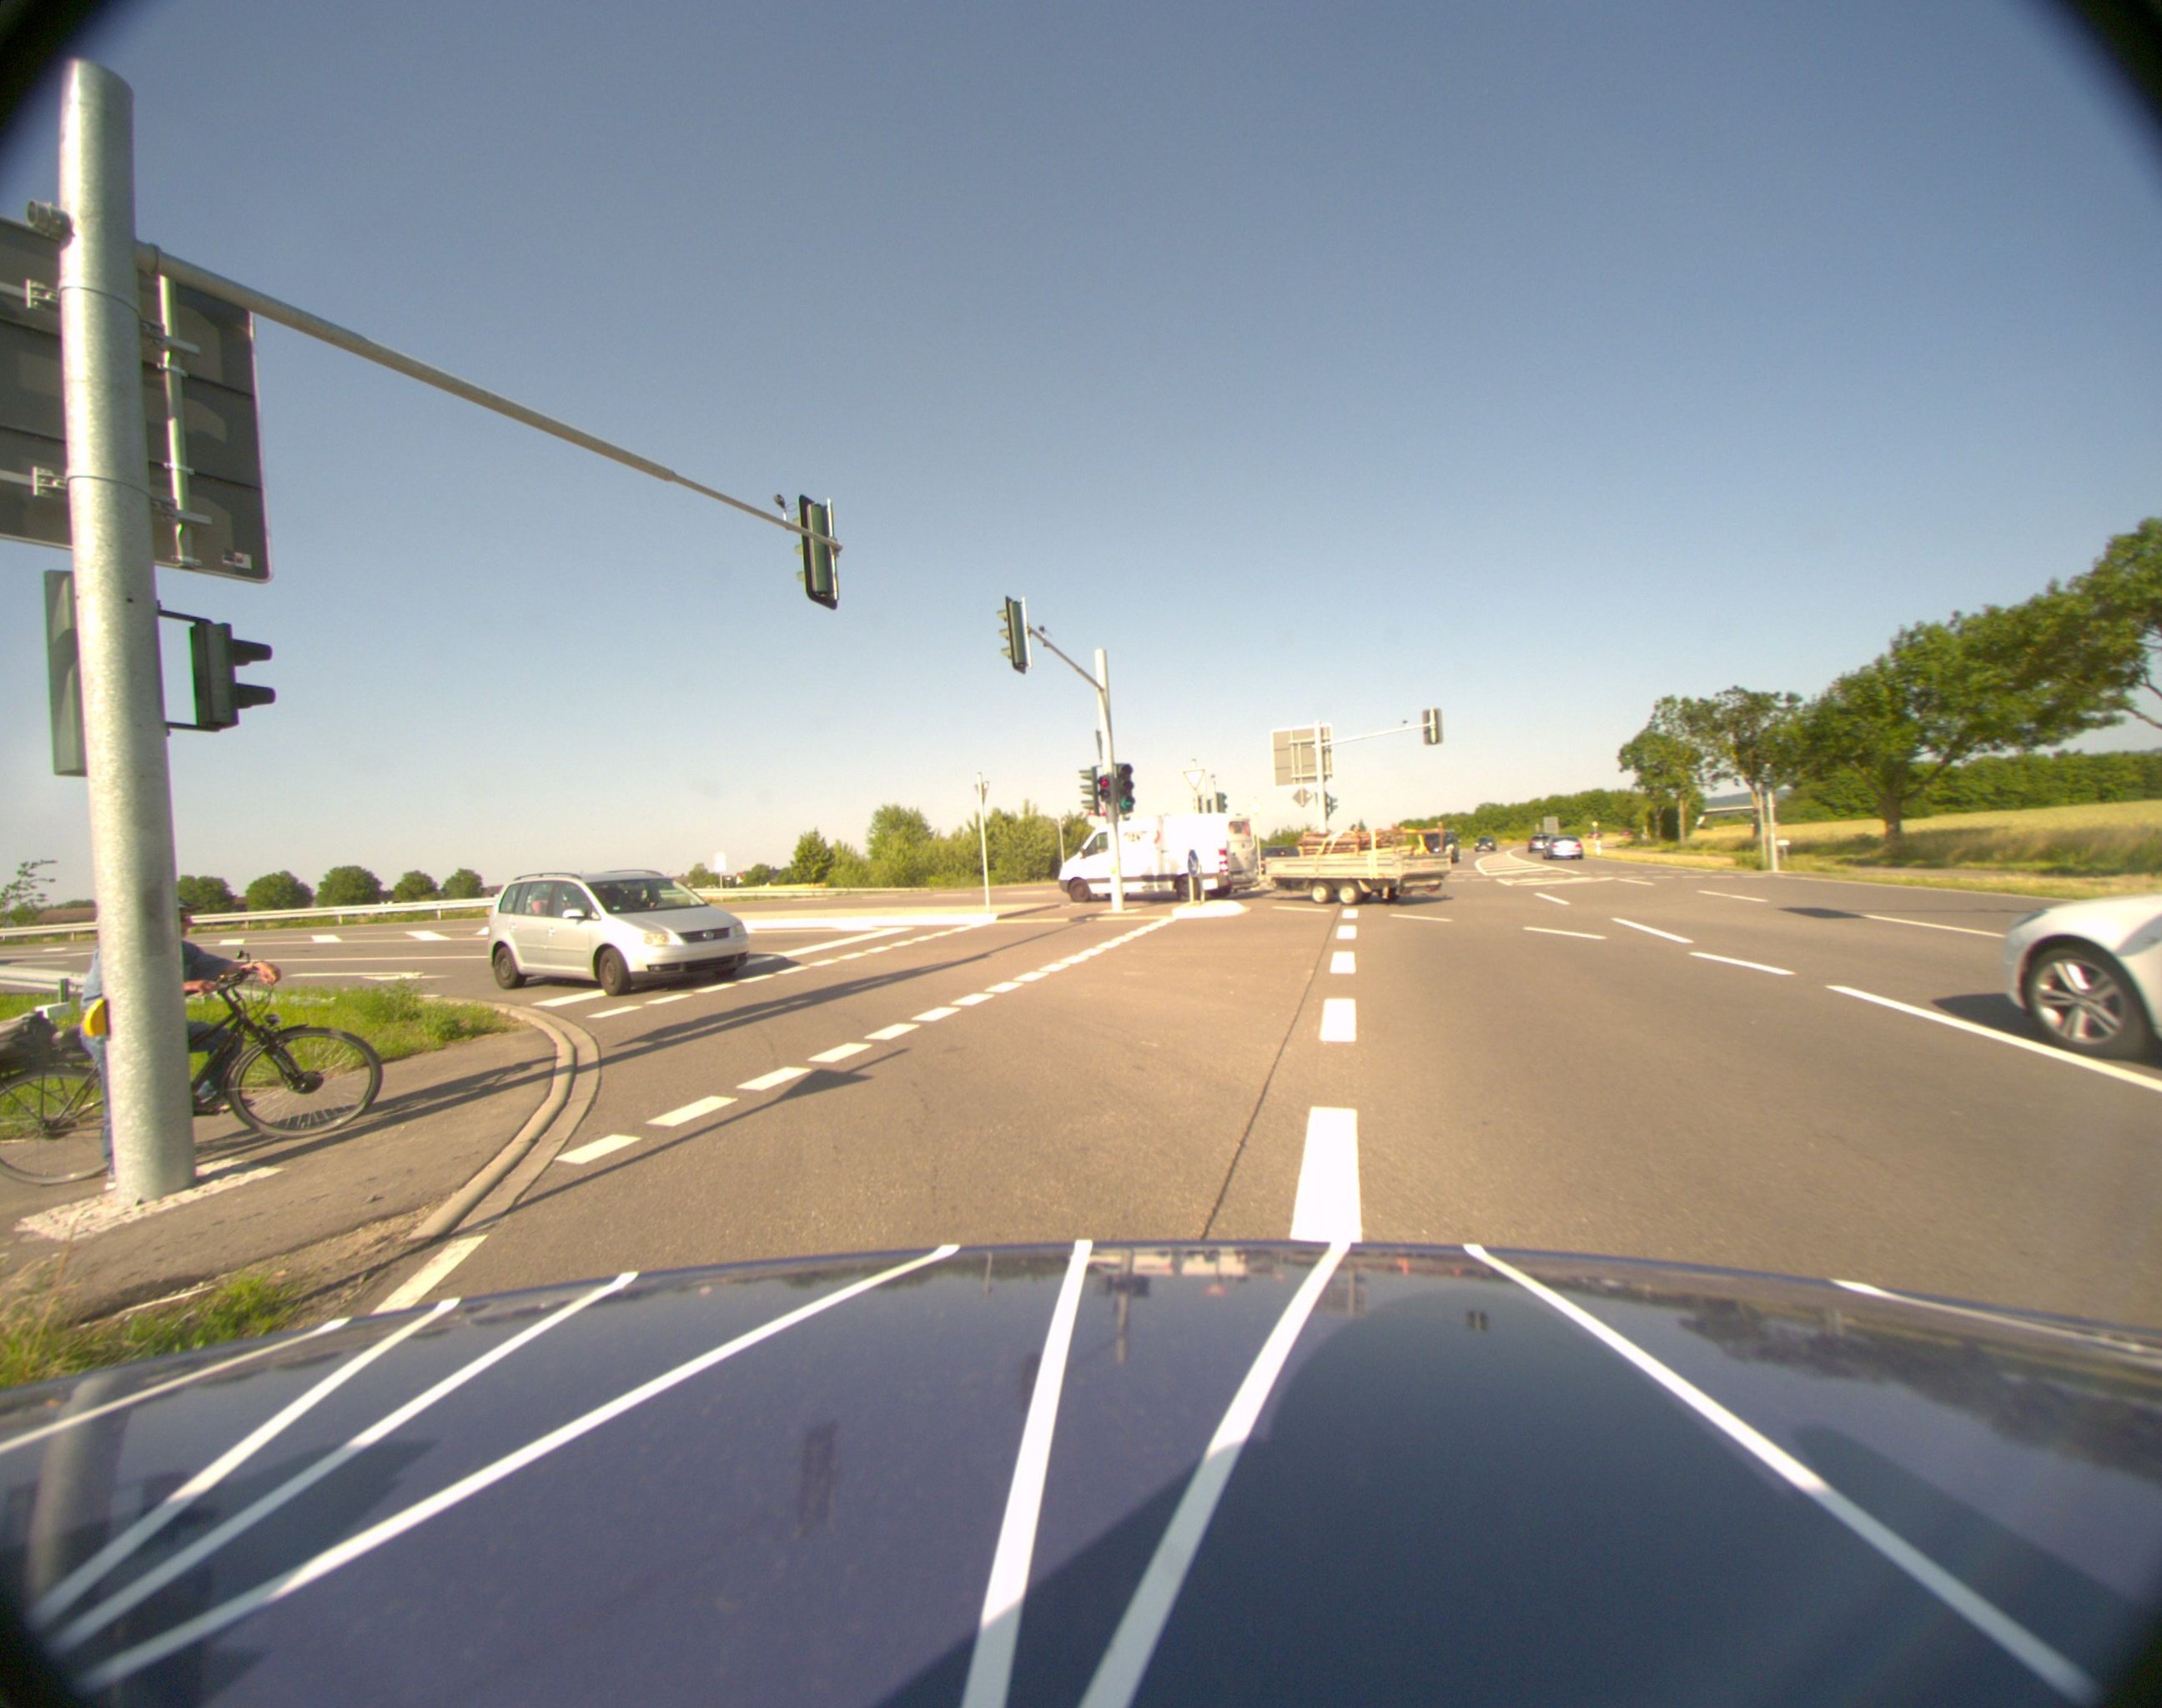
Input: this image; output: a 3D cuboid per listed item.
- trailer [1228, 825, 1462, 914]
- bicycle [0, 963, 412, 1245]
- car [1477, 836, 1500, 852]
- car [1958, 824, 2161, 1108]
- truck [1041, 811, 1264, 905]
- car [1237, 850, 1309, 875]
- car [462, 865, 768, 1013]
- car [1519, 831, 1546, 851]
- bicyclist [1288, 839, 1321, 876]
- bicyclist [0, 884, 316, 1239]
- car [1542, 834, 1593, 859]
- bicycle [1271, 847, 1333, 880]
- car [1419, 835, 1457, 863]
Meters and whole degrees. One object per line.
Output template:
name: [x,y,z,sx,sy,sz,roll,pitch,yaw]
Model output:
trailer: [5.934,0.330,17.802,1.984,1.728,5.000,-3,1,-31]
bicycle: [-5.365,1.413,4.448,1.947,1.145,0.680,-7,3,-25]
car: [43.273,-1.035,80.597,1.858,1.533,4.007,-3,0,32]
car: [6.298,0.588,2.679,1.762,1.483,4.712,-3,0,14]
truck: [1.894,0.184,21.918,6.182,2.391,2.075,-3,0,39]
car: [9.806,0.411,38.601,1.735,1.106,4.008,-2,1,44]
car: [-6.725,1.132,10.900,4.204,1.685,1.759,-3,1,28]
car: [39.271,-1.117,66.147,1.885,1.616,4.007,-1,1,29]
bicyclist: [8.473,0.118,28.730,1.071,1.344,0.859,-2,2,22]
bicyclist: [-5.368,1.116,4.443,0.918,1.756,0.618,-7,3,-25]
car: [28.764,-0.443,45.070,1.630,1.369,4.428,-1,1,20]
bicycle: [8.367,0.372,28.747,2.146,1.143,1.075,-2,2,22]
car: [21.501,-0.315,45.664,1.858,1.533,4.007,-3,0,28]
